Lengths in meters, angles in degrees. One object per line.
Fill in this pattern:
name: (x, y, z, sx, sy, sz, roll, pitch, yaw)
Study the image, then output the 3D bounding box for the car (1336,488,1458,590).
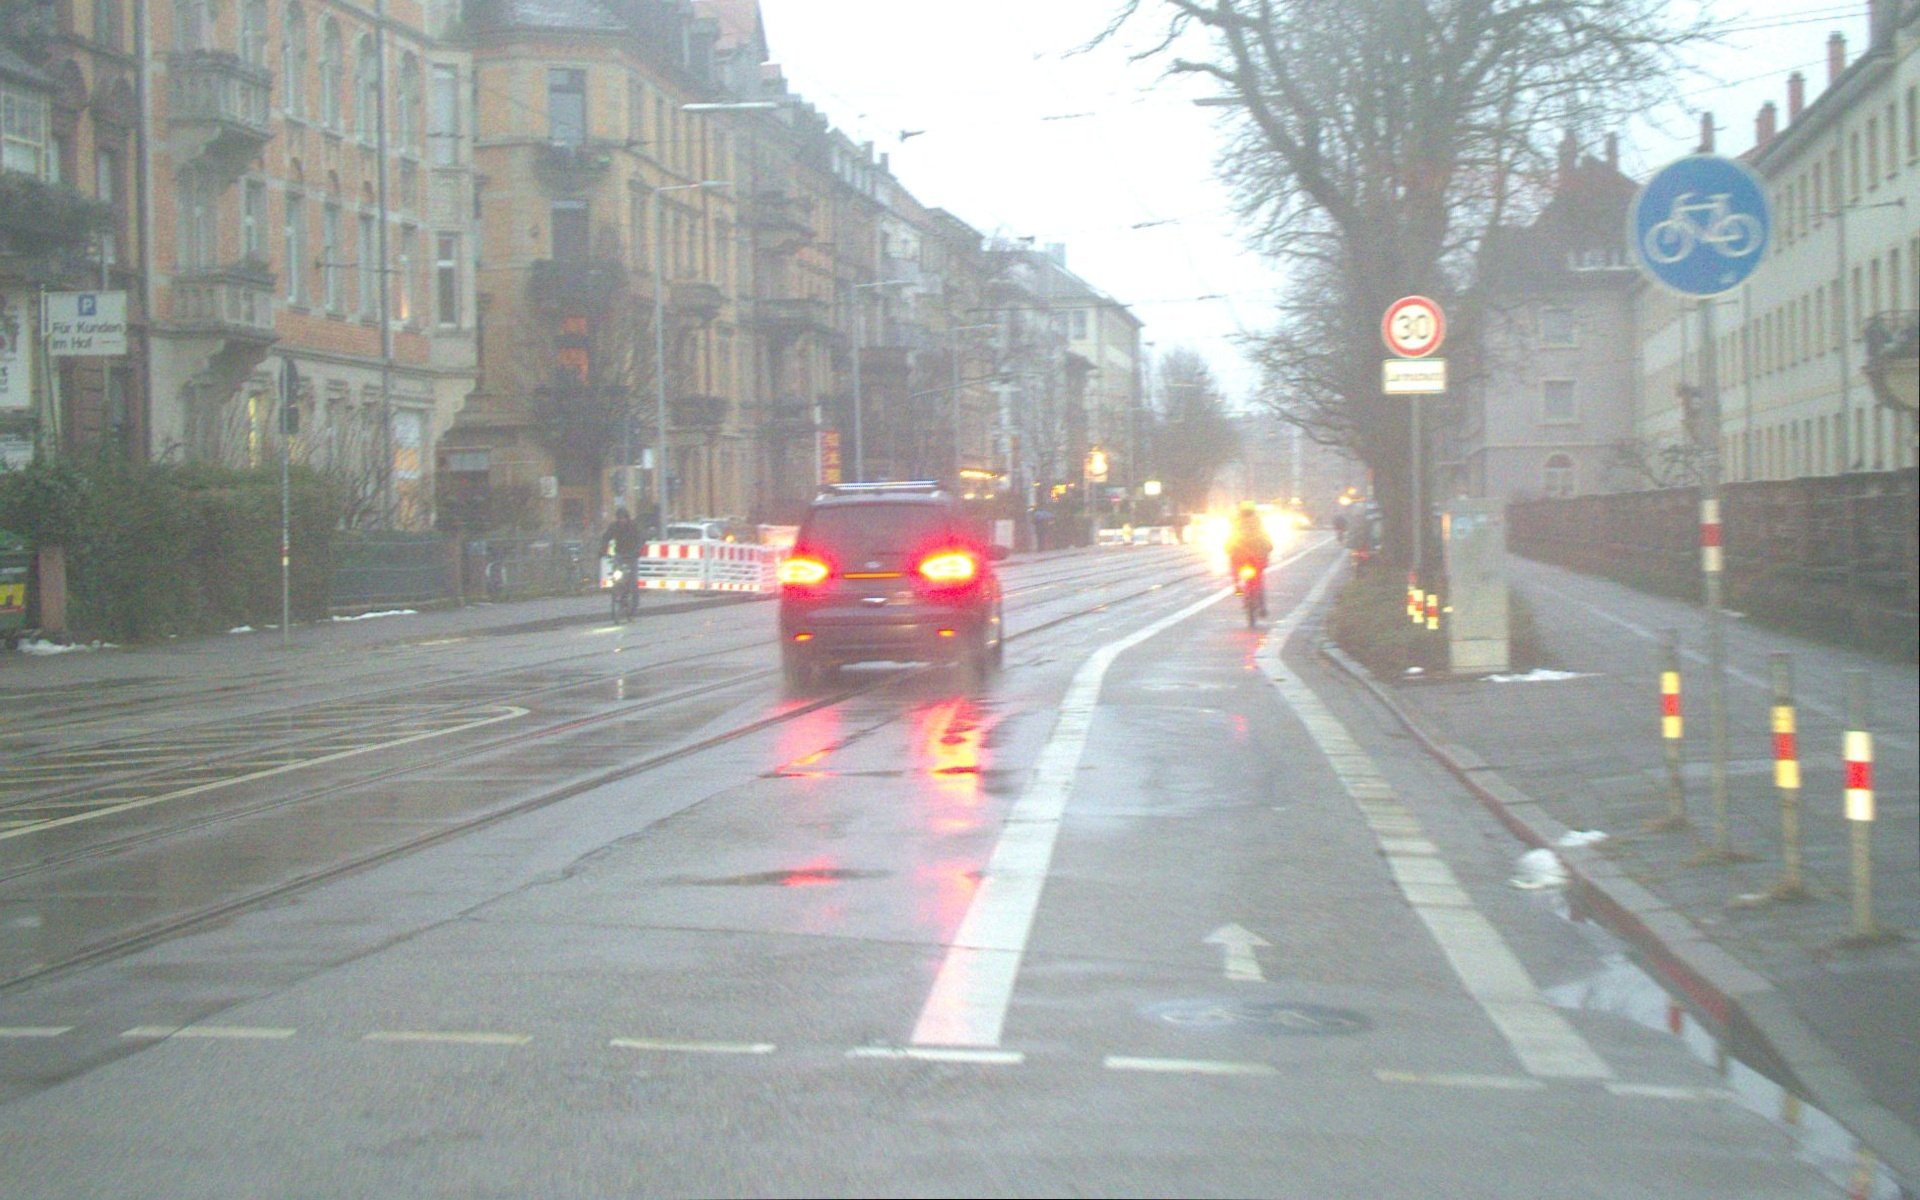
car: (6.762, -0.975, 53.474, 1.786, 1.504, 3.987, -1, 2, 6)

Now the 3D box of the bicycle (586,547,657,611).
bicycle: (-5.448, -0.342, 55.368, 0.678, 0.969, 1.933, -1, 2, 8)

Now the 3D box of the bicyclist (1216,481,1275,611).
bicyclist: (3.852, -0.732, 46.394, 0.730, 1.730, 0.765, -1, 2, 8)

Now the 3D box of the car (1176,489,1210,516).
car: (14.959, -6.260, 220.465, 1.924, 1.714, 3.999, -1, 2, 7)

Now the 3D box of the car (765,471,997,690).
car: (-0.670, -0.244, 32.057, 1.802, 1.864, 4.018, 2, 2, 3)

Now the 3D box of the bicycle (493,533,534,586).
bicycle: (-8.084, -0.743, 62.278, 0.263, 0.912, 1.685, 5, 3, 7)

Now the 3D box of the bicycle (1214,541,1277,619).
bicycle: (3.869, -0.275, 46.455, 0.731, 1.003, 1.763, -1, 2, 8)

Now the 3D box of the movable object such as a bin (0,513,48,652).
movable object such as a bin: (-11.508, -0.215, 40.038, 1.244, 1.580, 1.307, 0, 2, 12)

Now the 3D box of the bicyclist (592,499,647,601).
bicyclist: (-5.460, -0.809, 55.172, 0.684, 1.610, 0.765, -1, 2, 8)
